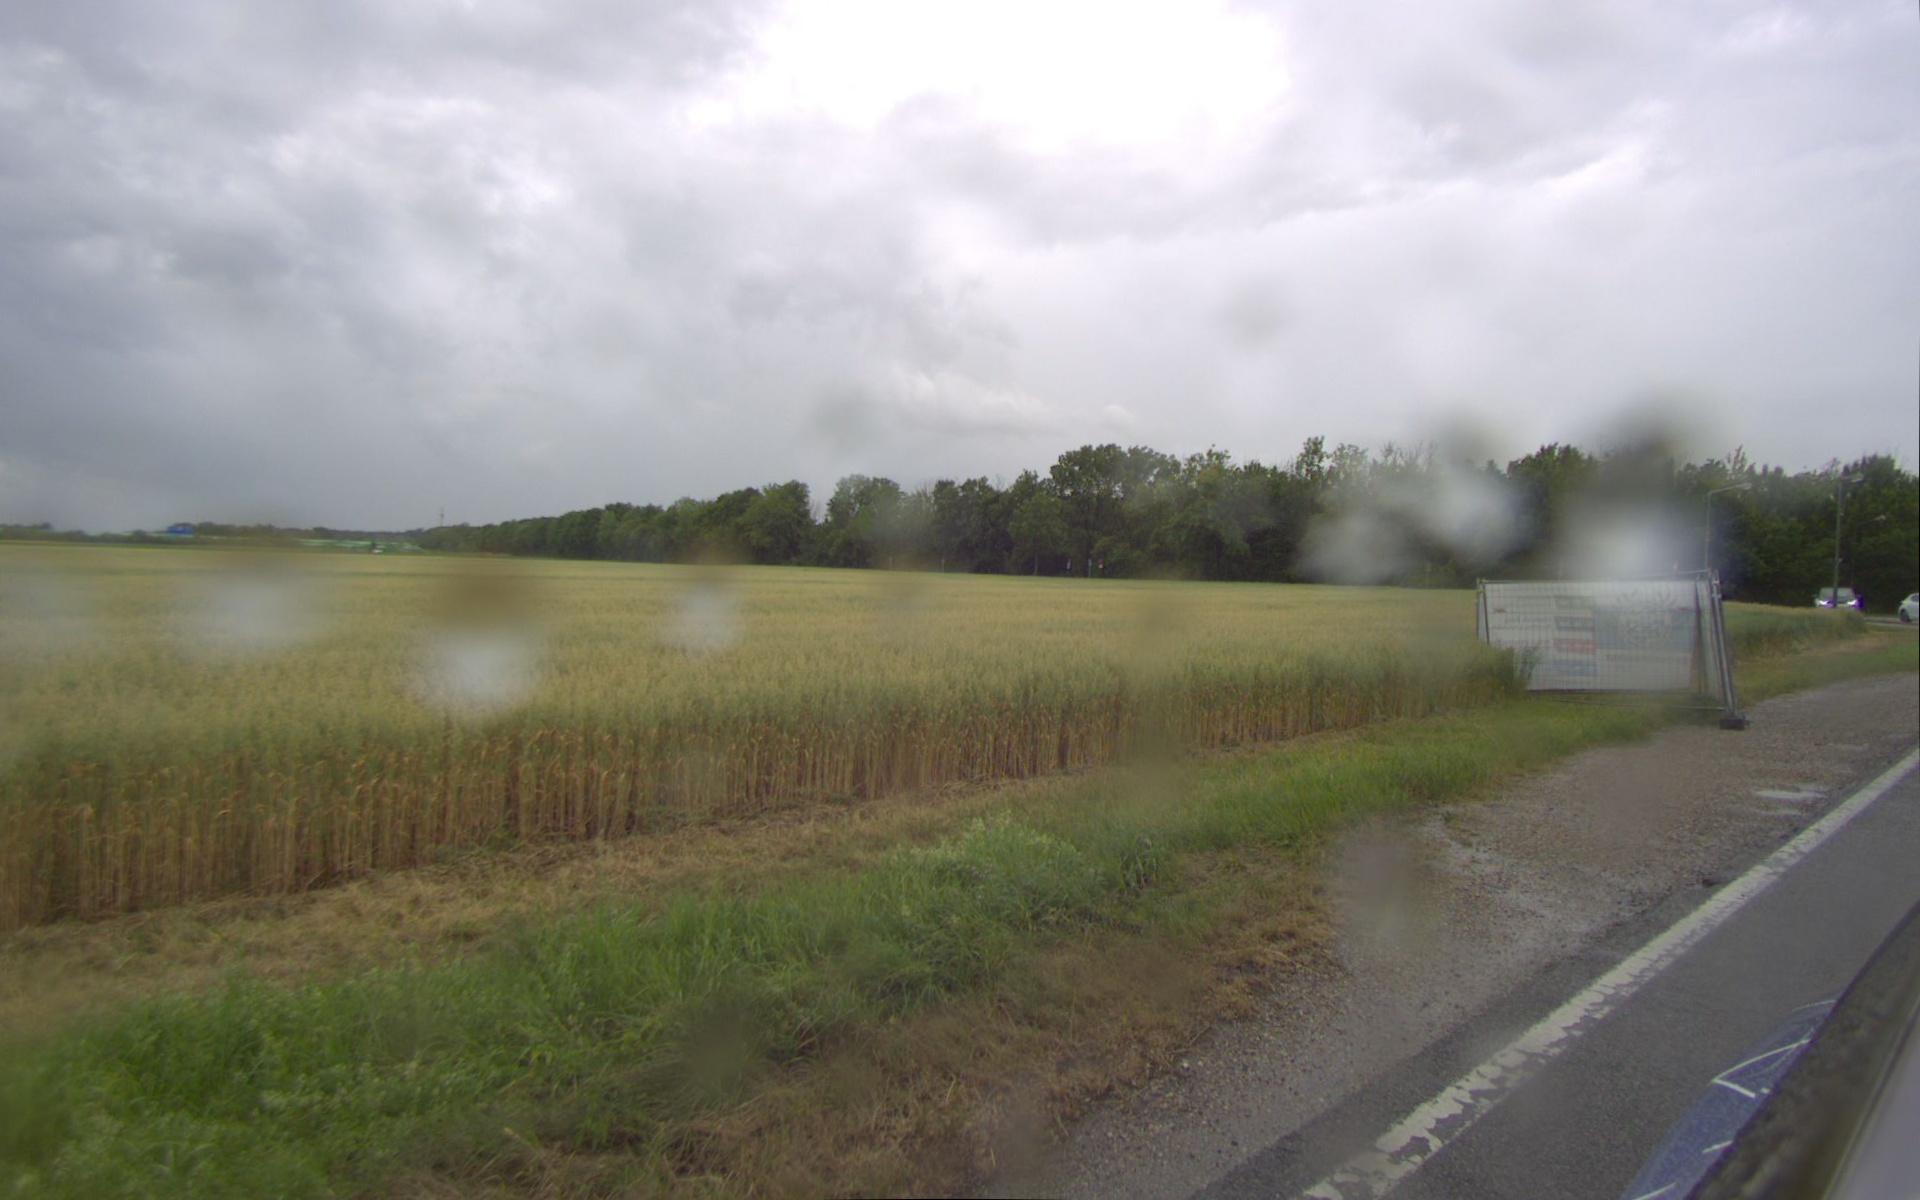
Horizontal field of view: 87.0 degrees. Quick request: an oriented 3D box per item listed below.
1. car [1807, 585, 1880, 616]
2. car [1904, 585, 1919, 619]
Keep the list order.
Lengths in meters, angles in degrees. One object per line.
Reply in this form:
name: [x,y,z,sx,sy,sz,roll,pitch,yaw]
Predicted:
car: [47.713,0.001,54.745,1.875,1.550,4.460,1,1,27]
car: [43.802,0.109,44.259,1.868,1.550,4.477,1,1,17]
